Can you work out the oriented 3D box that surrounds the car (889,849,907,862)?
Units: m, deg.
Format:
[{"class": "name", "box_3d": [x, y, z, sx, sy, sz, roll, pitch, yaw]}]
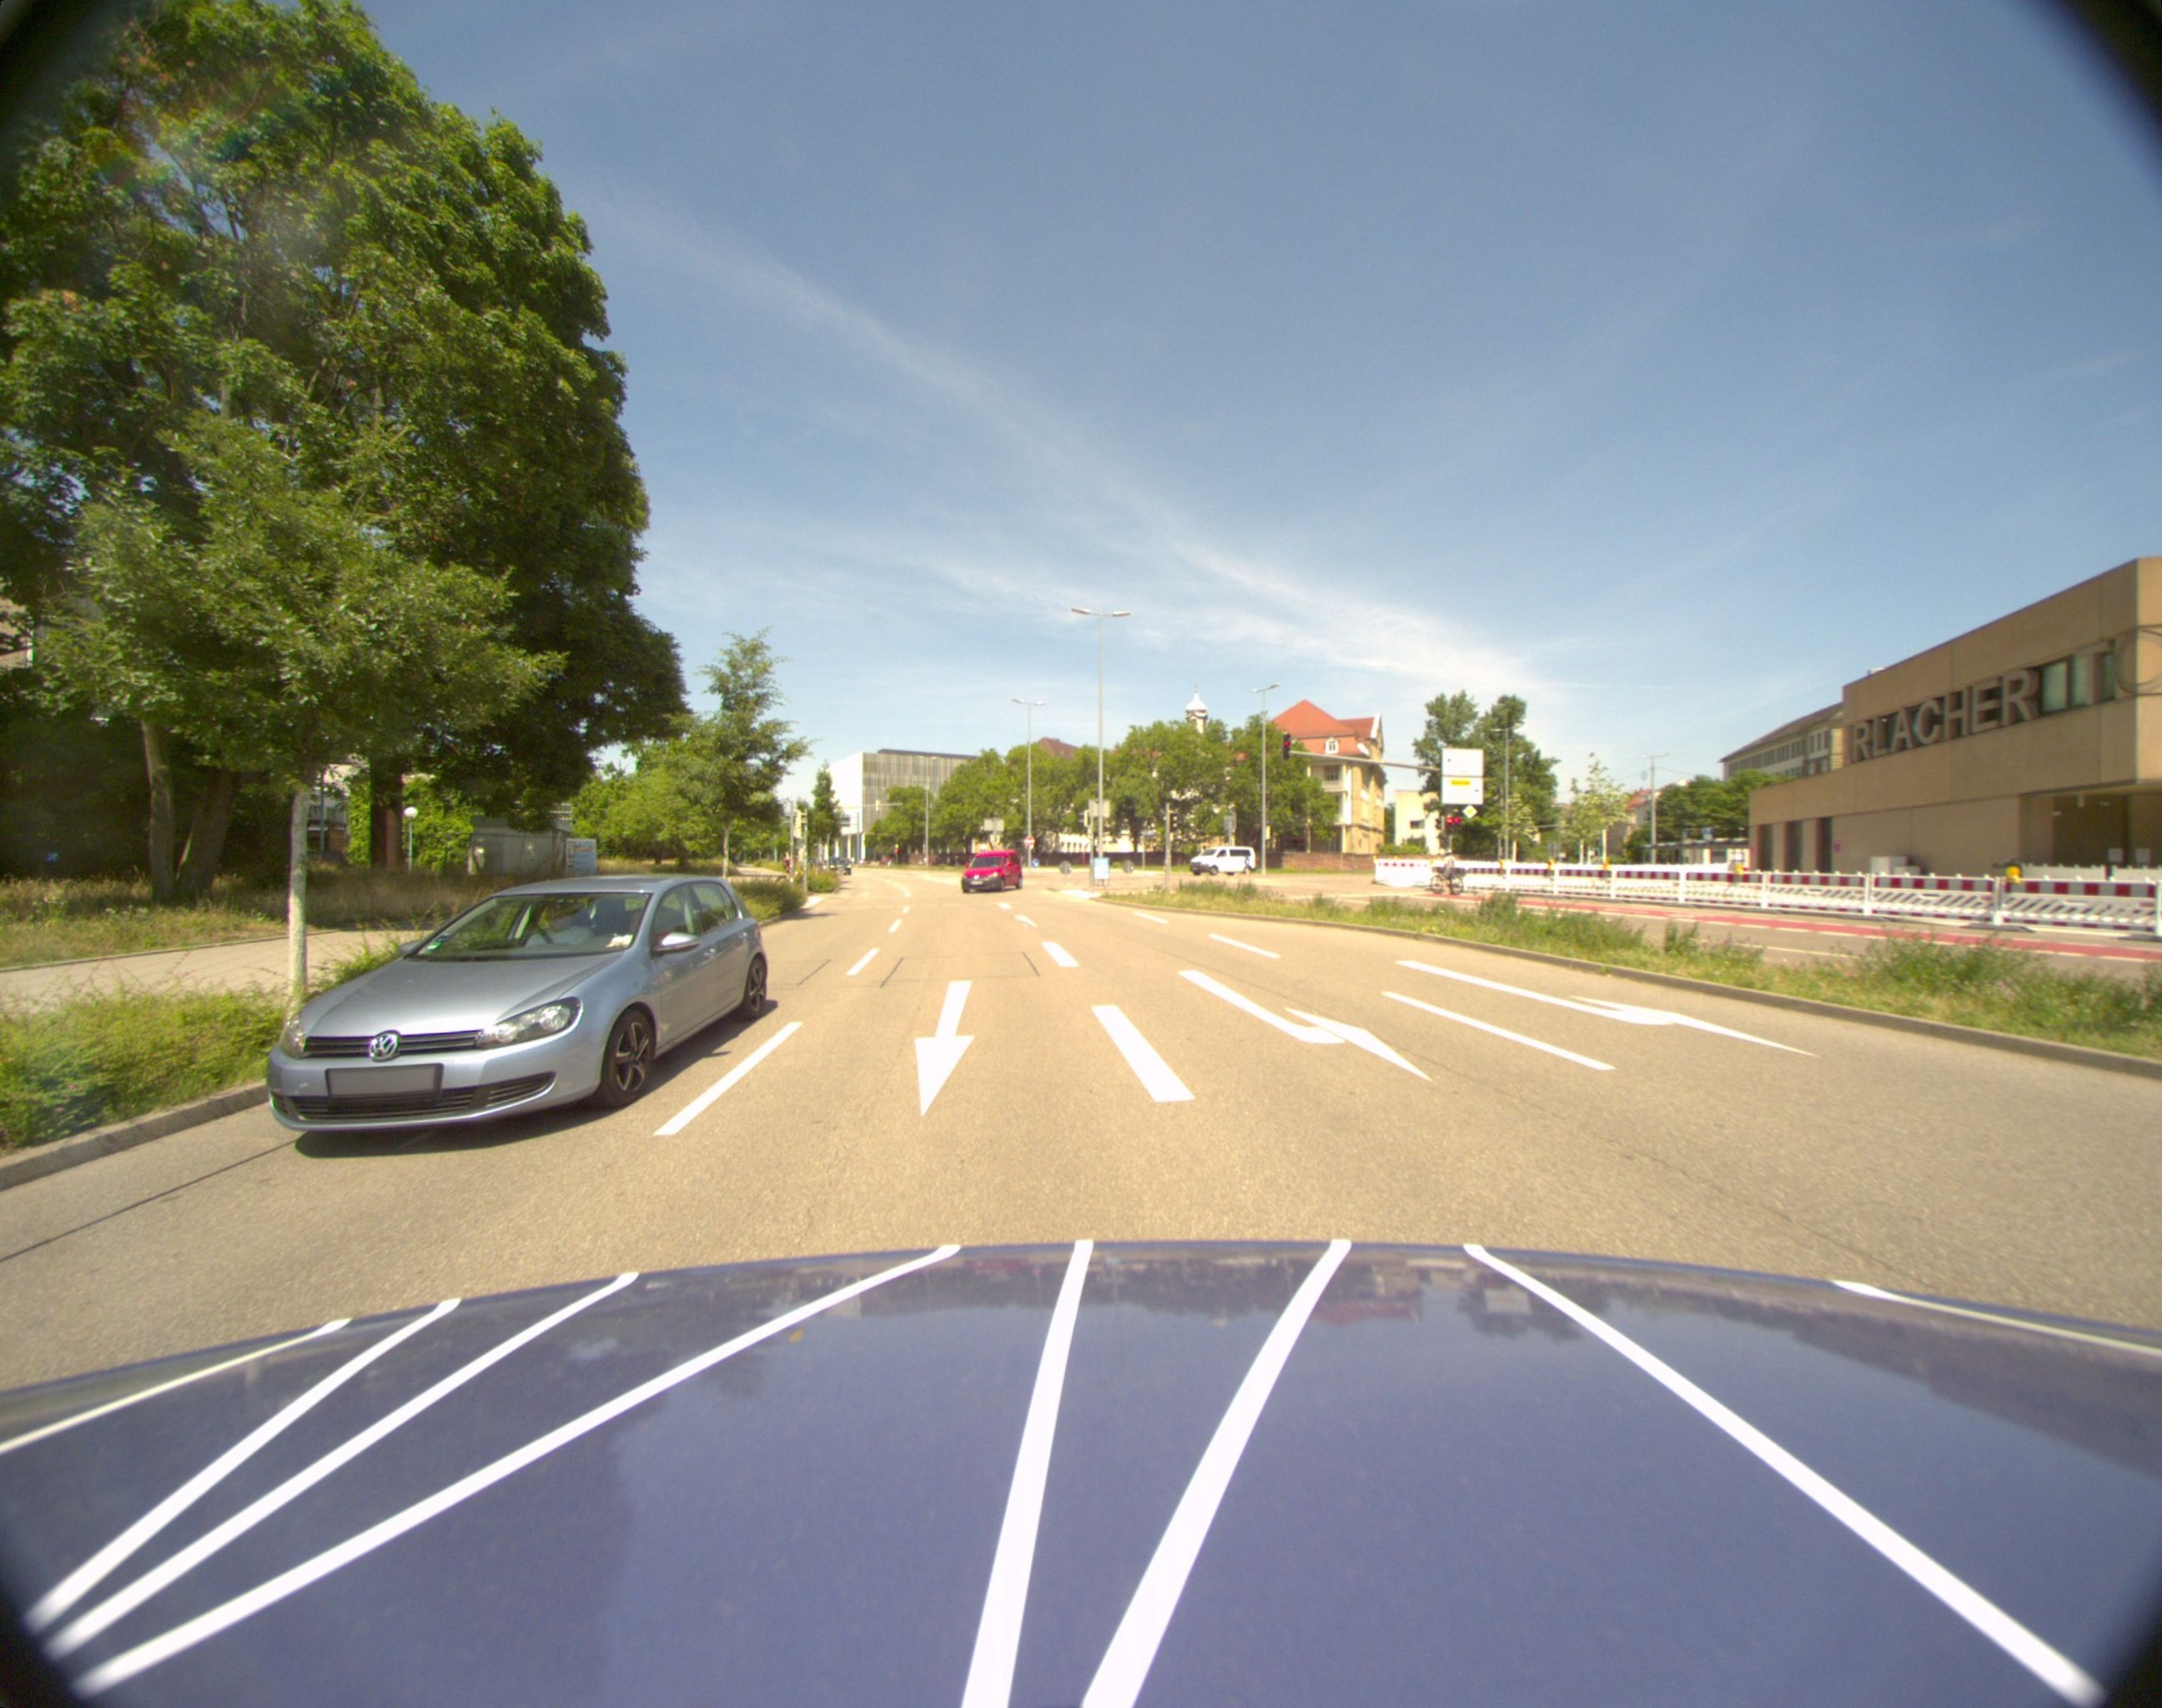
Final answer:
[{"class": "car", "box_3d": [-30.220, 0.198, 125.339, 2.003, 2.001, 4.206, 0, -2, -28]}]

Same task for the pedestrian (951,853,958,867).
[{"class": "pedestrian", "box_3d": [-21.117, 1.042, 126.502, 0.851, 2.276, 1.073, 0, -2, -30]}]

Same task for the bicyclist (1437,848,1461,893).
[{"class": "bicyclist", "box_3d": [12.961, 0.577, 26.758, 0.531, 1.570, 0.498, 0, 1, -12]}]

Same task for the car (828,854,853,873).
[{"class": "car", "box_3d": [-21.752, 0.905, 68.567, 1.711, 1.576, 4.548, 0, -2, -23]}]

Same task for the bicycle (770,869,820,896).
[{"class": "bicycle", "box_3d": [-11.545, 1.128, 30.644, 1.992, 1.039, 0.559, 1, -1, 20]}]

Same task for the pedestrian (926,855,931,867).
[{"class": "pedestrian", "box_3d": [-25.725, 1.192, 128.215, 0.550, 2.001, 0.535, 0, -2, -28]}]

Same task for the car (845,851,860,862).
[{"class": "car", "box_3d": [-39.210, 0.446, 130.189, 1.781, 1.658, 3.992, 0, -2, -28]}]

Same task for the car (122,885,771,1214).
[{"class": "car", "box_3d": [-3.889, 1.024, 5.730, 1.833, 1.406, 3.992, 0, 0, -6]}]

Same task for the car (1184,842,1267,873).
[{"class": "car", "box_3d": [9.883, 0.262, 51.881, 5.404, 1.973, 1.996, 0, -2, -27]}]

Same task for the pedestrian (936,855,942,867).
[{"class": "pedestrian", "box_3d": [-24.160, 1.226, 129.525, 0.790, 2.001, 0.838, 0, -2, -29]}]

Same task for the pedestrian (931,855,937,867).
[{"class": "pedestrian", "box_3d": [-24.966, 1.210, 128.882, 0.790, 2.001, 0.962, 0, -2, -29]}]

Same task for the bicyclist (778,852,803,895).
[{"class": "bicyclist", "box_3d": [-11.740, 0.785, 30.714, 0.701, 1.705, 0.552, 0, -1, 20]}]

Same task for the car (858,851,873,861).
[{"class": "car", "box_3d": [-37.257, 0.364, 131.064, 1.784, 1.673, 3.993, 0, -2, -26]}]

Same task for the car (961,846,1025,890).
[{"class": "car", "box_3d": [-3.768, 0.646, 33.406, 1.831, 1.755, 4.283, -1, -2, 7]}]

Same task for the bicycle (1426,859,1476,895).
[{"class": "bicycle", "box_3d": [12.968, 0.795, 26.691, 0.524, 1.174, 1.896, 0, 1, -12]}]
